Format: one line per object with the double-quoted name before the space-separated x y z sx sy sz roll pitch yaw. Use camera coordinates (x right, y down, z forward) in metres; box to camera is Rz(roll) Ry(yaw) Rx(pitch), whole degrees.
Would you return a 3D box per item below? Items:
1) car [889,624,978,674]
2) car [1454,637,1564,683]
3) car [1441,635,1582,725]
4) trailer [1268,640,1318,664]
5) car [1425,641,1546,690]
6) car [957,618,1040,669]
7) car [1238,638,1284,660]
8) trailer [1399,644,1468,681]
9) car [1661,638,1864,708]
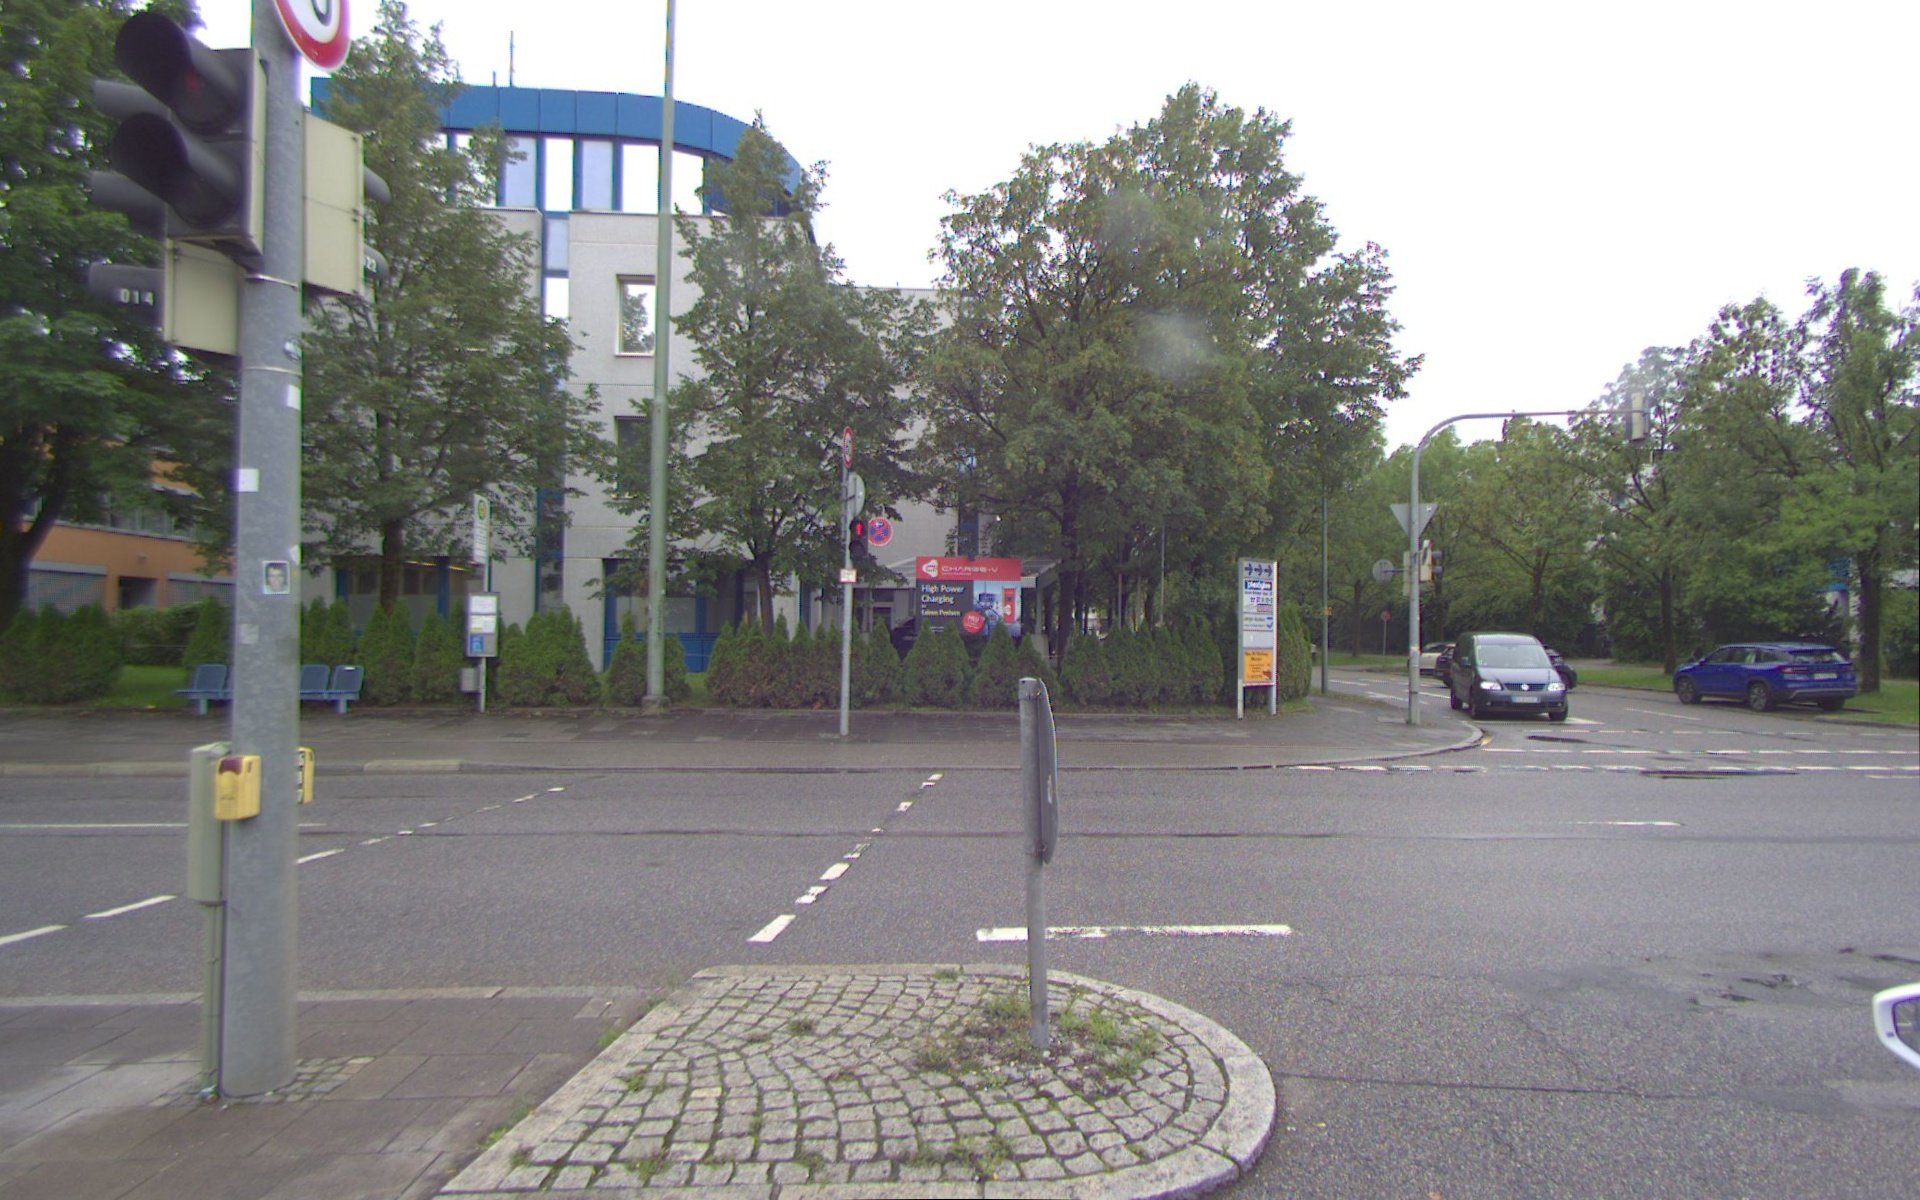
"car" -0.751 1.511 32.044 1.832 1.437 4.179 0 -1 13
"car" 20.610 2.247 37.911 1.728 1.595 4.165 -1 -3 -1
"car" 12.166 1.707 22.497 1.960 1.745 4.792 0 -2 19
"trailer" 19.745 3.067 59.745 1.529 1.279 3.419 1 -1 -7
"car" 16.989 2.099 32.622 3.215 1.462 1.666 0 -2 18
"car" 1.272 1.307 31.498 1.832 1.437 4.179 0 -1 13
"car" 19.166 3.116 64.110 1.529 1.279 3.418 1 -1 -8
"trailer" 20.379 2.667 43.344 1.423 1.433 3.342 1 -1 0
"car" 20.284 1.802 25.669 1.960 1.595 4.286 -2 -3 5
